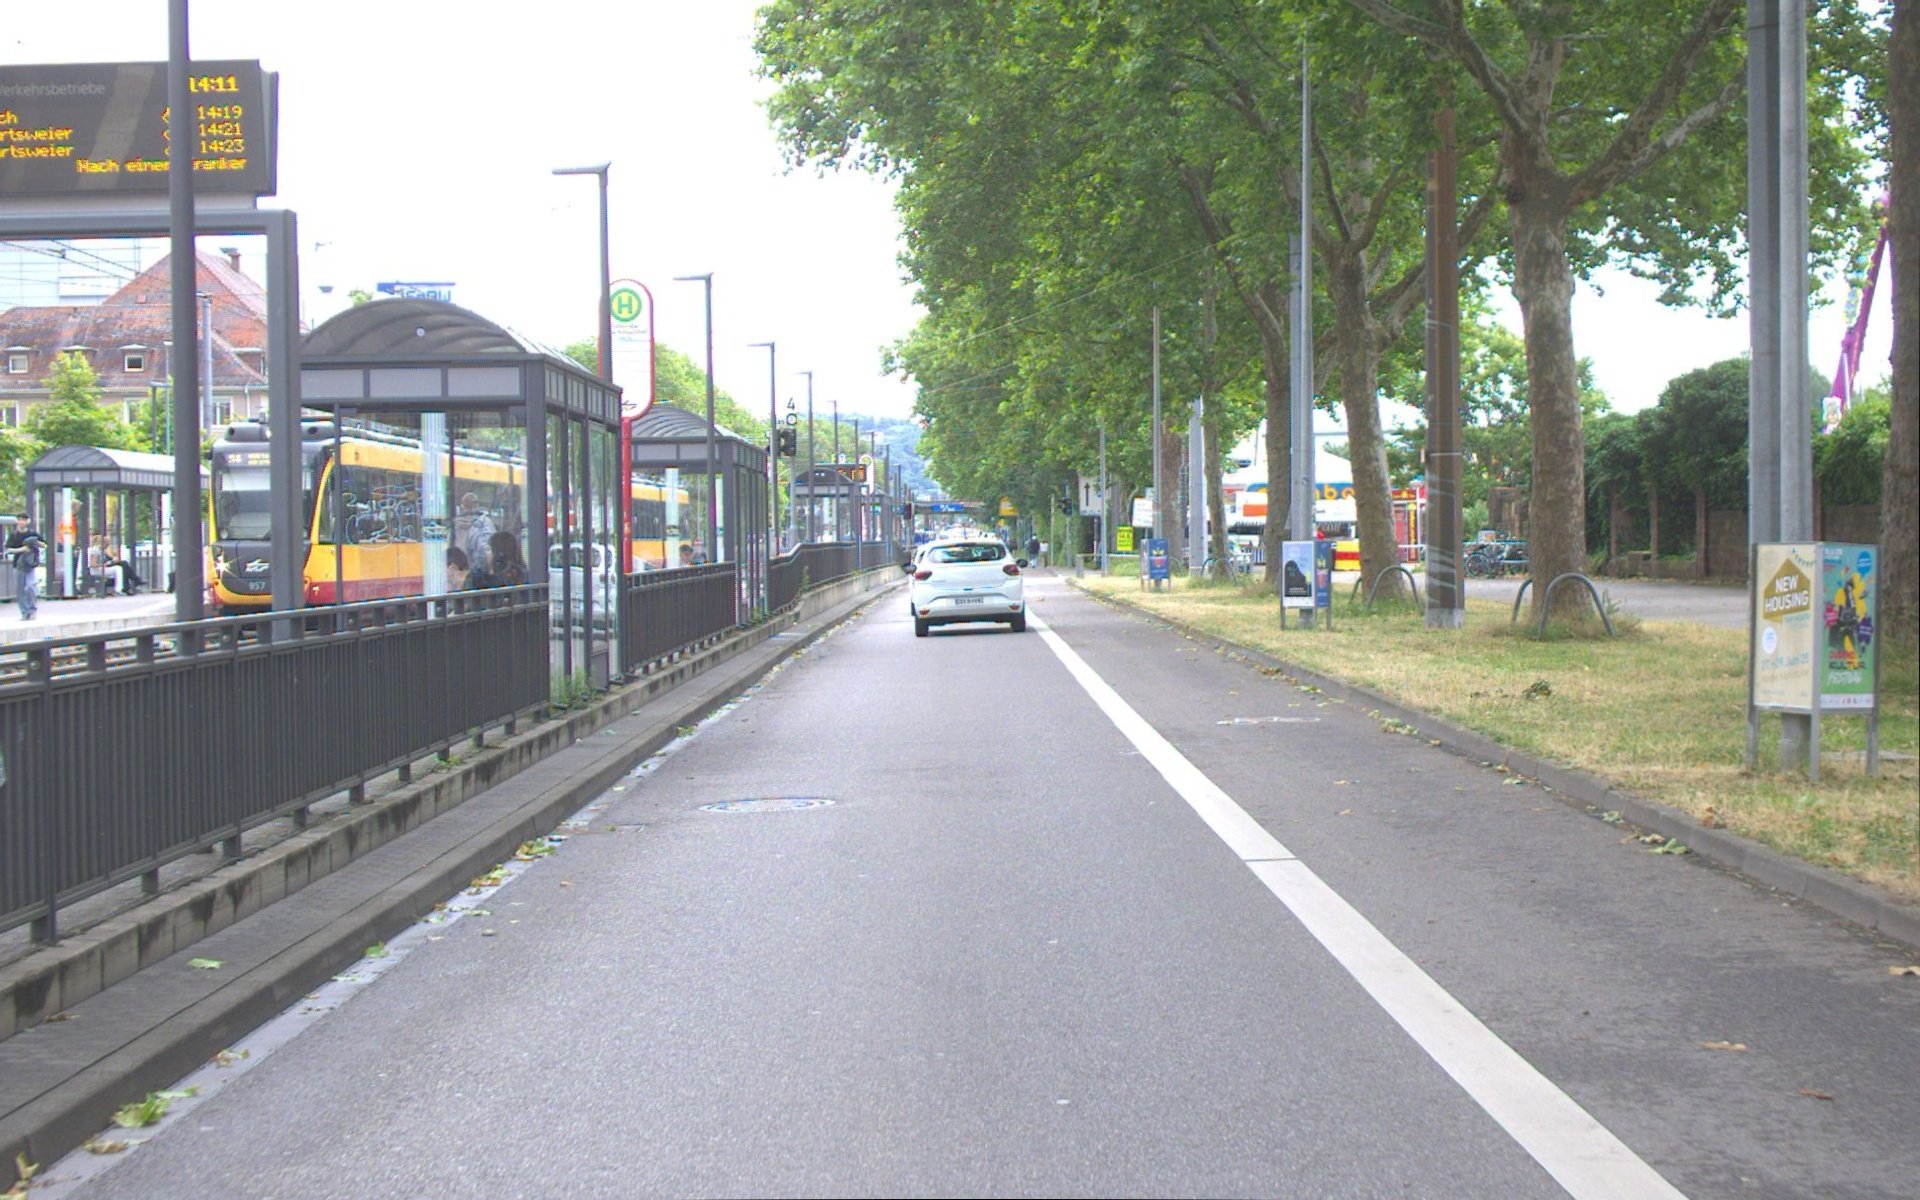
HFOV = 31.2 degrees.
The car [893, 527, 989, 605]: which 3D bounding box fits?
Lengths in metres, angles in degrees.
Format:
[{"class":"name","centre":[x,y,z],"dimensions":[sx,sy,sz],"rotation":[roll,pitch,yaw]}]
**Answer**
[{"class":"car","centre":[-0.375,-0.743,72.623],"dimensions":[1.841,1.546,4.000],"rotation":[-2,1,2]}]

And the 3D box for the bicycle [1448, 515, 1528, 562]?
[{"class":"bicycle","centre":[13.332,-1.559,86.770],"dimensions":[1.890,1.101,0.550],"rotation":[-3,1,-1]}]

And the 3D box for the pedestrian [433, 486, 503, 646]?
[{"class":"pedestrian","centre":[-5.606,-0.387,39.159],"dimensions":[0.670,1.787,1.113],"rotation":[-1,1,-13]}]

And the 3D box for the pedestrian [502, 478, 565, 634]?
[{"class":"pedestrian","centre":[-4.976,-0.514,40.077],"dimensions":[0.670,1.787,1.113],"rotation":[-1,1,-8]}]

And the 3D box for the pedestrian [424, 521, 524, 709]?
[{"class":"pedestrian","centre":[-3.527,0.105,25.002],"dimensions":[0.610,1.336,0.600],"rotation":[-1,0,1]}]

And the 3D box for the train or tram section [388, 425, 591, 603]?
[{"class":"train or tram section","centre":[-11.889,-2.111,88.371],"dimensions":[3.180,4.164,13.621],"rotation":[-1,1,1]}]

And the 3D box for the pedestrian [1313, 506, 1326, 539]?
[{"class":"pedestrian","centre":[16.202,-3.486,154.915],"dimensions":[0.492,1.458,0.524],"rotation":[-1,0,-2]}]

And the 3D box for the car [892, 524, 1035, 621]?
[{"class":"car","centre":[0.095,-0.448,54.848],"dimensions":[1.886,1.448,3.999],"rotation":[-1,1,6]}]

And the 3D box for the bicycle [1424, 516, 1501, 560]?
[{"class":"bicycle","centre":[13.430,-1.662,91.932],"dimensions":[1.921,1.087,0.550],"rotation":[-3,1,-1]}]

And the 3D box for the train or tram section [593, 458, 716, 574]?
[{"class":"train or tram section","centre":[-11.604,-3.132,132.044],"dimensions":[3.180,4.164,14.734],"rotation":[-1,1,1]}]

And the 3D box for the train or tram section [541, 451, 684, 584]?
[{"class":"train or tram section","centre":[-11.708,-2.727,117.294],"dimensions":[3.180,4.164,14.734],"rotation":[-1,1,1]}]

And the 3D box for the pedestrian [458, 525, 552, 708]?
[{"class":"pedestrian","centre":[-3.475,0.122,26.288],"dimensions":[0.610,1.368,0.600],"rotation":[-1,0,1]}]

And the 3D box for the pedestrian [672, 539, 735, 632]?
[{"class":"pedestrian","centre":[-3.617,-0.207,48.566],"dimensions":[0.835,1.299,0.613],"rotation":[-1,1,-1]}]

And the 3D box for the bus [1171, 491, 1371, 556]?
[{"class":"bus","centre":[14.841,-3.644,164.363],"dimensions":[9.276,2.949,2.000],"rotation":[-1,1,-2]}]

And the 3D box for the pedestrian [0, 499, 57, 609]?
[{"class":"pedestrian","centre":[-15.471,-0.759,56.957],"dimensions":[0.711,1.789,1.160],"rotation":[-1,1,-1]}]

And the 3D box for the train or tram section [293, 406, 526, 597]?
[{"class":"train or tram section","centre":[-11.951,-2.074,75.828],"dimensions":[3.163,3.848,11.311],"rotation":[-1,1,1]}]

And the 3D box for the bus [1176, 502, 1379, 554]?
[{"class":"bus","centre":[14.843,-3.367,161.120],"dimensions":[9.276,2.220,2.000],"rotation":[-1,1,-2]}]

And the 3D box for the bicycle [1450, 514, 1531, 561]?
[{"class":"bicycle","centre":[13.476,-1.582,87.352],"dimensions":[1.900,1.093,0.550],"rotation":[-3,1,-1]}]

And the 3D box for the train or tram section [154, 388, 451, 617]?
[{"class":"train or tram section","centre":[-12.088,-1.732,64.487],"dimensions":[3.237,3.848,11.311],"rotation":[-1,1,1]}]
